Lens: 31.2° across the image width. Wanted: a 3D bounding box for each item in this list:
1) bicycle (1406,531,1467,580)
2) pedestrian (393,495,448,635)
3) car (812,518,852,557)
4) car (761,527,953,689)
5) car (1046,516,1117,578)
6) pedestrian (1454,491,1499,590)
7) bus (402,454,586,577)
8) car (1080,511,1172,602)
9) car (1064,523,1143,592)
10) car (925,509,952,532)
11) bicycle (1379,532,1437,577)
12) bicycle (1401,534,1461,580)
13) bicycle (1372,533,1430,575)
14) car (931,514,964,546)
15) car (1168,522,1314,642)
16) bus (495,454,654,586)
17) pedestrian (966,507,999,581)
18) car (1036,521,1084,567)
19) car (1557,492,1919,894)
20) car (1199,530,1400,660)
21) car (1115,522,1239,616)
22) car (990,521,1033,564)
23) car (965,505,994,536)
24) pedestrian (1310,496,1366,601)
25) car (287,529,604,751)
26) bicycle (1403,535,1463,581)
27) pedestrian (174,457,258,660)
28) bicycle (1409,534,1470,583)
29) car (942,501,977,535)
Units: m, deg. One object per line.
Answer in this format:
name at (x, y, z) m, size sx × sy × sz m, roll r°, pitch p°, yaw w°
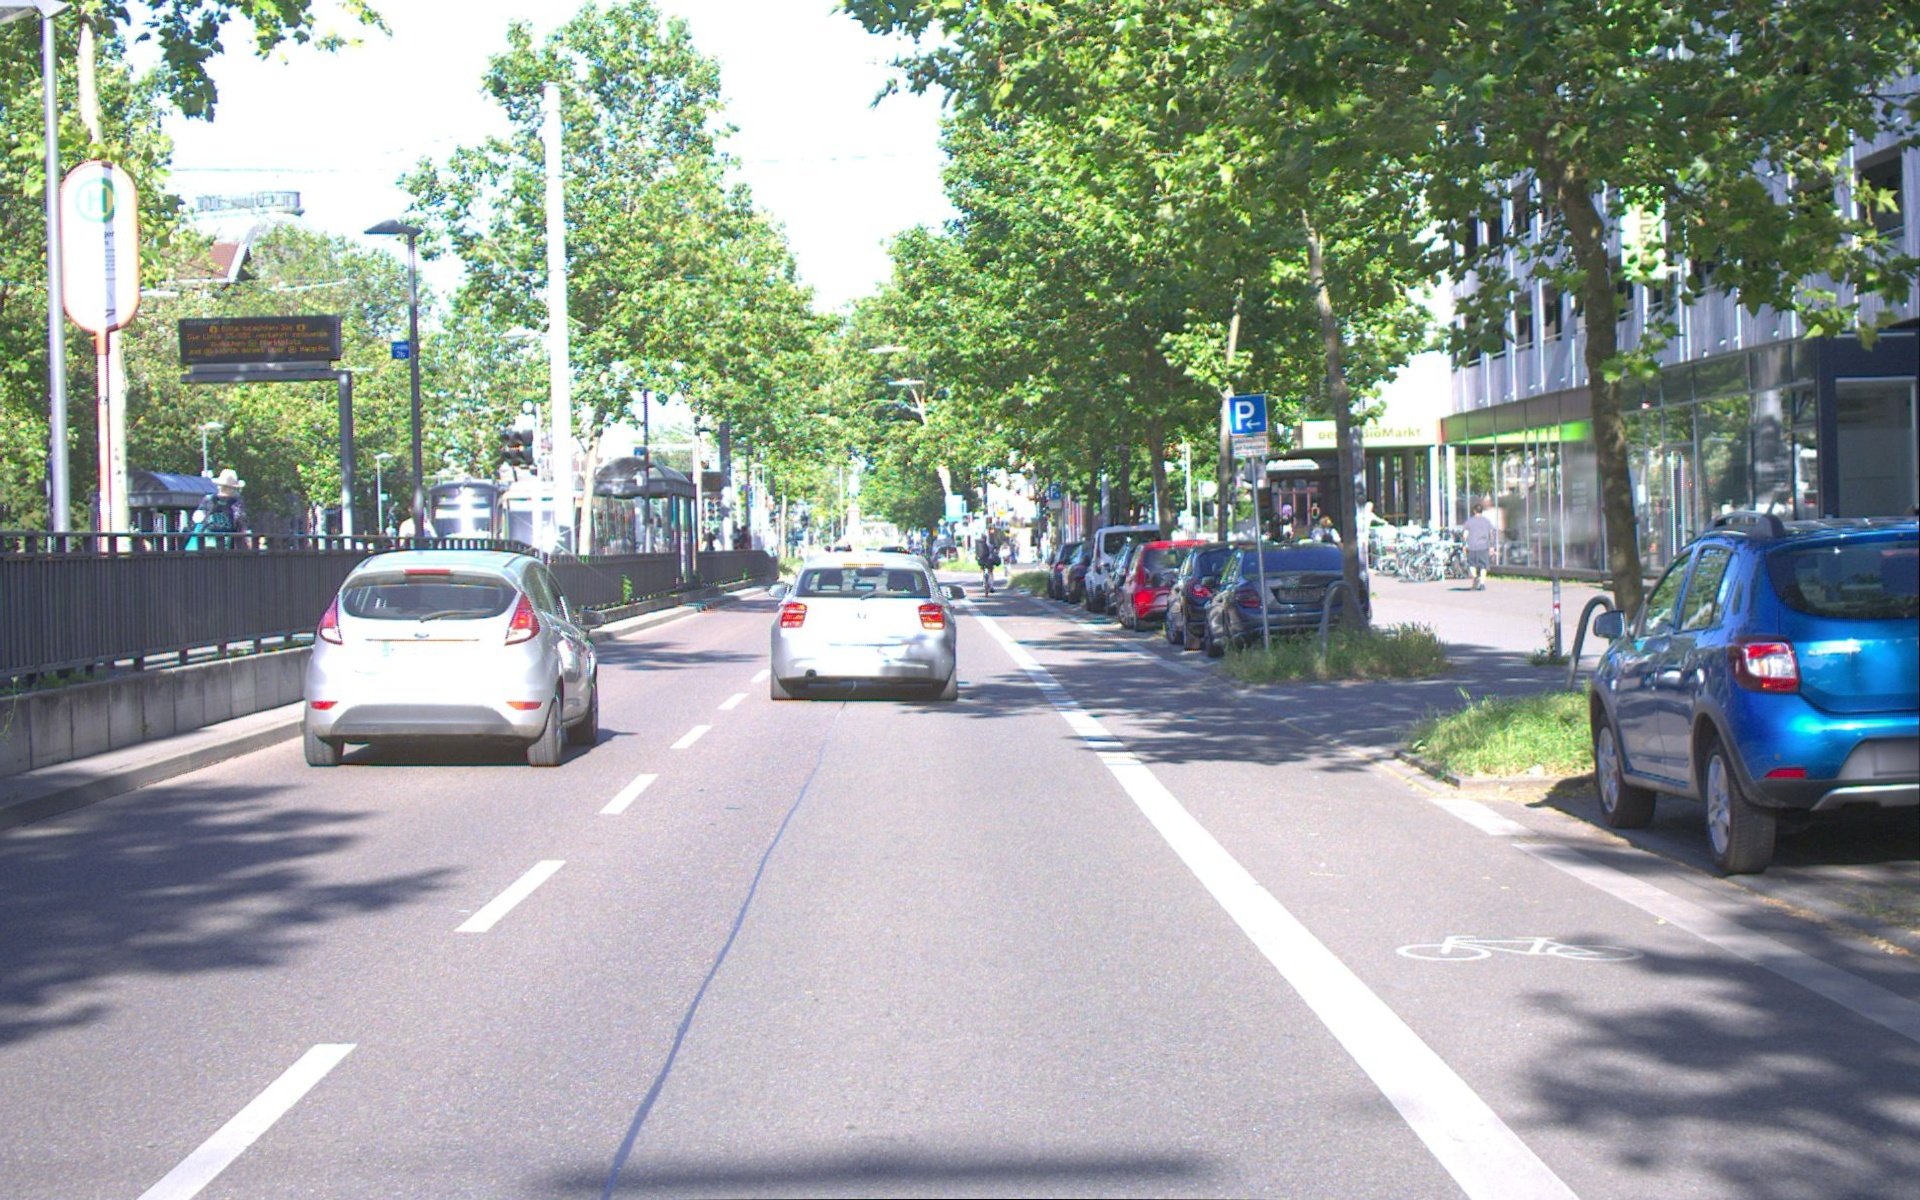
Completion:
bicycle at (11.268, -1.052, 81.331) m, size 1.383 × 1.144 × 0.243 m, roll 1°, pitch 2°, yaw -1°
pedestrian at (-7.576, -0.499, 48.277) m, size 0.639 × 1.947 × 0.814 m, roll 1°, pitch 2°, yaw 0°
car at (-6.793, -3.324, 183.265) m, size 1.993 × 2.006 × 4.001 m, roll 1°, pitch 2°, yaw 0°
car at (-0.999, 0.032, 33.898) m, size 1.762 × 1.427 × 4.001 m, roll 1°, pitch 2°, yaw -1°
car at (3.162, -1.413, 89.922) m, size 1.700 × 1.529 × 3.717 m, roll 1°, pitch 2°, yaw 0°
pedestrian at (10.512, -1.218, 69.976) m, size 0.788 × 2.007 × 0.891 m, roll 0°, pitch 1°, yaw 0°
bus at (-15.198, -2.868, 114.519) m, size 2.869 × 3.616 × 24.605 m, roll -1°, pitch 2°, yaw 0°
car at (3.536, -0.959, 73.687) m, size 1.724 × 1.874 × 4.000 m, roll 1°, pitch 1°, yaw 0°
car at (3.435, -1.039, 82.855) m, size 1.711 × 1.557 × 4.001 m, roll 1°, pitch 2°, yaw 0°
car at (-1.595, -5.930, 256.272) m, size 1.993 × 1.692 × 4.000 m, roll 0°, pitch 1°, yaw 0°
bicycle at (10.967, -1.116, 84.133) m, size 1.383 × 1.094 × 0.243 m, roll 1°, pitch 2°, yaw -1°
bicycle at (11.222, -1.025, 81.976) m, size 1.383 × 1.055 × 0.243 m, roll 1°, pitch 2°, yaw -1°
bicycle at (10.842, -1.135, 84.590) m, size 1.383 × 1.009 × 0.243 m, roll 1°, pitch 2°, yaw -1°
car at (-0.825, -4.461, 219.263) m, size 2.071 × 2.007 × 4.000 m, roll 0°, pitch 1°, yaw 0°
car at (3.892, -0.290, 48.157) m, size 1.669 × 1.546 × 4.001 m, roll 1°, pitch 2°, yaw 0°
bus at (-11.527, -2.489, 104.756) m, size 2.750 × 3.613 × 18.849 m, roll -1°, pitch 2°, yaw 0°
pedestrian at (0.624, -1.550, 94.622) m, size 0.838 × 2.006 × 0.648 m, roll 1°, pitch 2°, yaw 7°
car at (4.018, -2.278, 138.647) m, size 1.809 × 1.785 × 3.912 m, roll 1°, pitch 2°, yaw 0°
car at (4.133, 0.335, 16.706) m, size 1.692 × 1.652 × 4.040 m, roll -1°, pitch 2°, yaw -1°
car at (4.140, -0.091, 42.607) m, size 1.993 × 1.504 × 4.598 m, roll 1°, pitch 1°, yaw 0°
car at (3.639, -0.531, 58.183) m, size 1.806 × 1.515 × 4.000 m, roll 1°, pitch 1°, yaw 0°
car at (2.509, -2.796, 167.135) m, size 1.993 × 2.006 × 4.001 m, roll 1°, pitch 2°, yaw 0°
car at (1.315, -5.334, 230.371) m, size 1.875 × 2.006 × 3.712 m, roll 1°, pitch 2°, yaw 0°
pedestrian at (7.259, -0.997, 66.037) m, size 0.963 × 2.007 × 0.939 m, roll 0°, pitch 1°, yaw 0°
car at (-3.507, 0.217, 23.999) m, size 1.646 × 1.358 × 3.760 m, roll 1°, pitch 2°, yaw 0°
bicycle at (11.235, -0.999, 81.659) m, size 1.383 × 1.052 × 0.243 m, roll 1°, pitch 2°, yaw -1°
pedestrian at (-7.245, -0.414, 33.507) m, size 0.639 × 1.947 × 0.814 m, roll 1°, pitch 2°, yaw 0°
bicycle at (11.284, -0.979, 80.992) m, size 1.383 × 1.144 × 0.243 m, roll 1°, pitch 2°, yaw -1°
car at (-0.057, -4.937, 207.211) m, size 1.993 × 2.007 × 4.000 m, roll -1°, pitch 1°, yaw -1°
